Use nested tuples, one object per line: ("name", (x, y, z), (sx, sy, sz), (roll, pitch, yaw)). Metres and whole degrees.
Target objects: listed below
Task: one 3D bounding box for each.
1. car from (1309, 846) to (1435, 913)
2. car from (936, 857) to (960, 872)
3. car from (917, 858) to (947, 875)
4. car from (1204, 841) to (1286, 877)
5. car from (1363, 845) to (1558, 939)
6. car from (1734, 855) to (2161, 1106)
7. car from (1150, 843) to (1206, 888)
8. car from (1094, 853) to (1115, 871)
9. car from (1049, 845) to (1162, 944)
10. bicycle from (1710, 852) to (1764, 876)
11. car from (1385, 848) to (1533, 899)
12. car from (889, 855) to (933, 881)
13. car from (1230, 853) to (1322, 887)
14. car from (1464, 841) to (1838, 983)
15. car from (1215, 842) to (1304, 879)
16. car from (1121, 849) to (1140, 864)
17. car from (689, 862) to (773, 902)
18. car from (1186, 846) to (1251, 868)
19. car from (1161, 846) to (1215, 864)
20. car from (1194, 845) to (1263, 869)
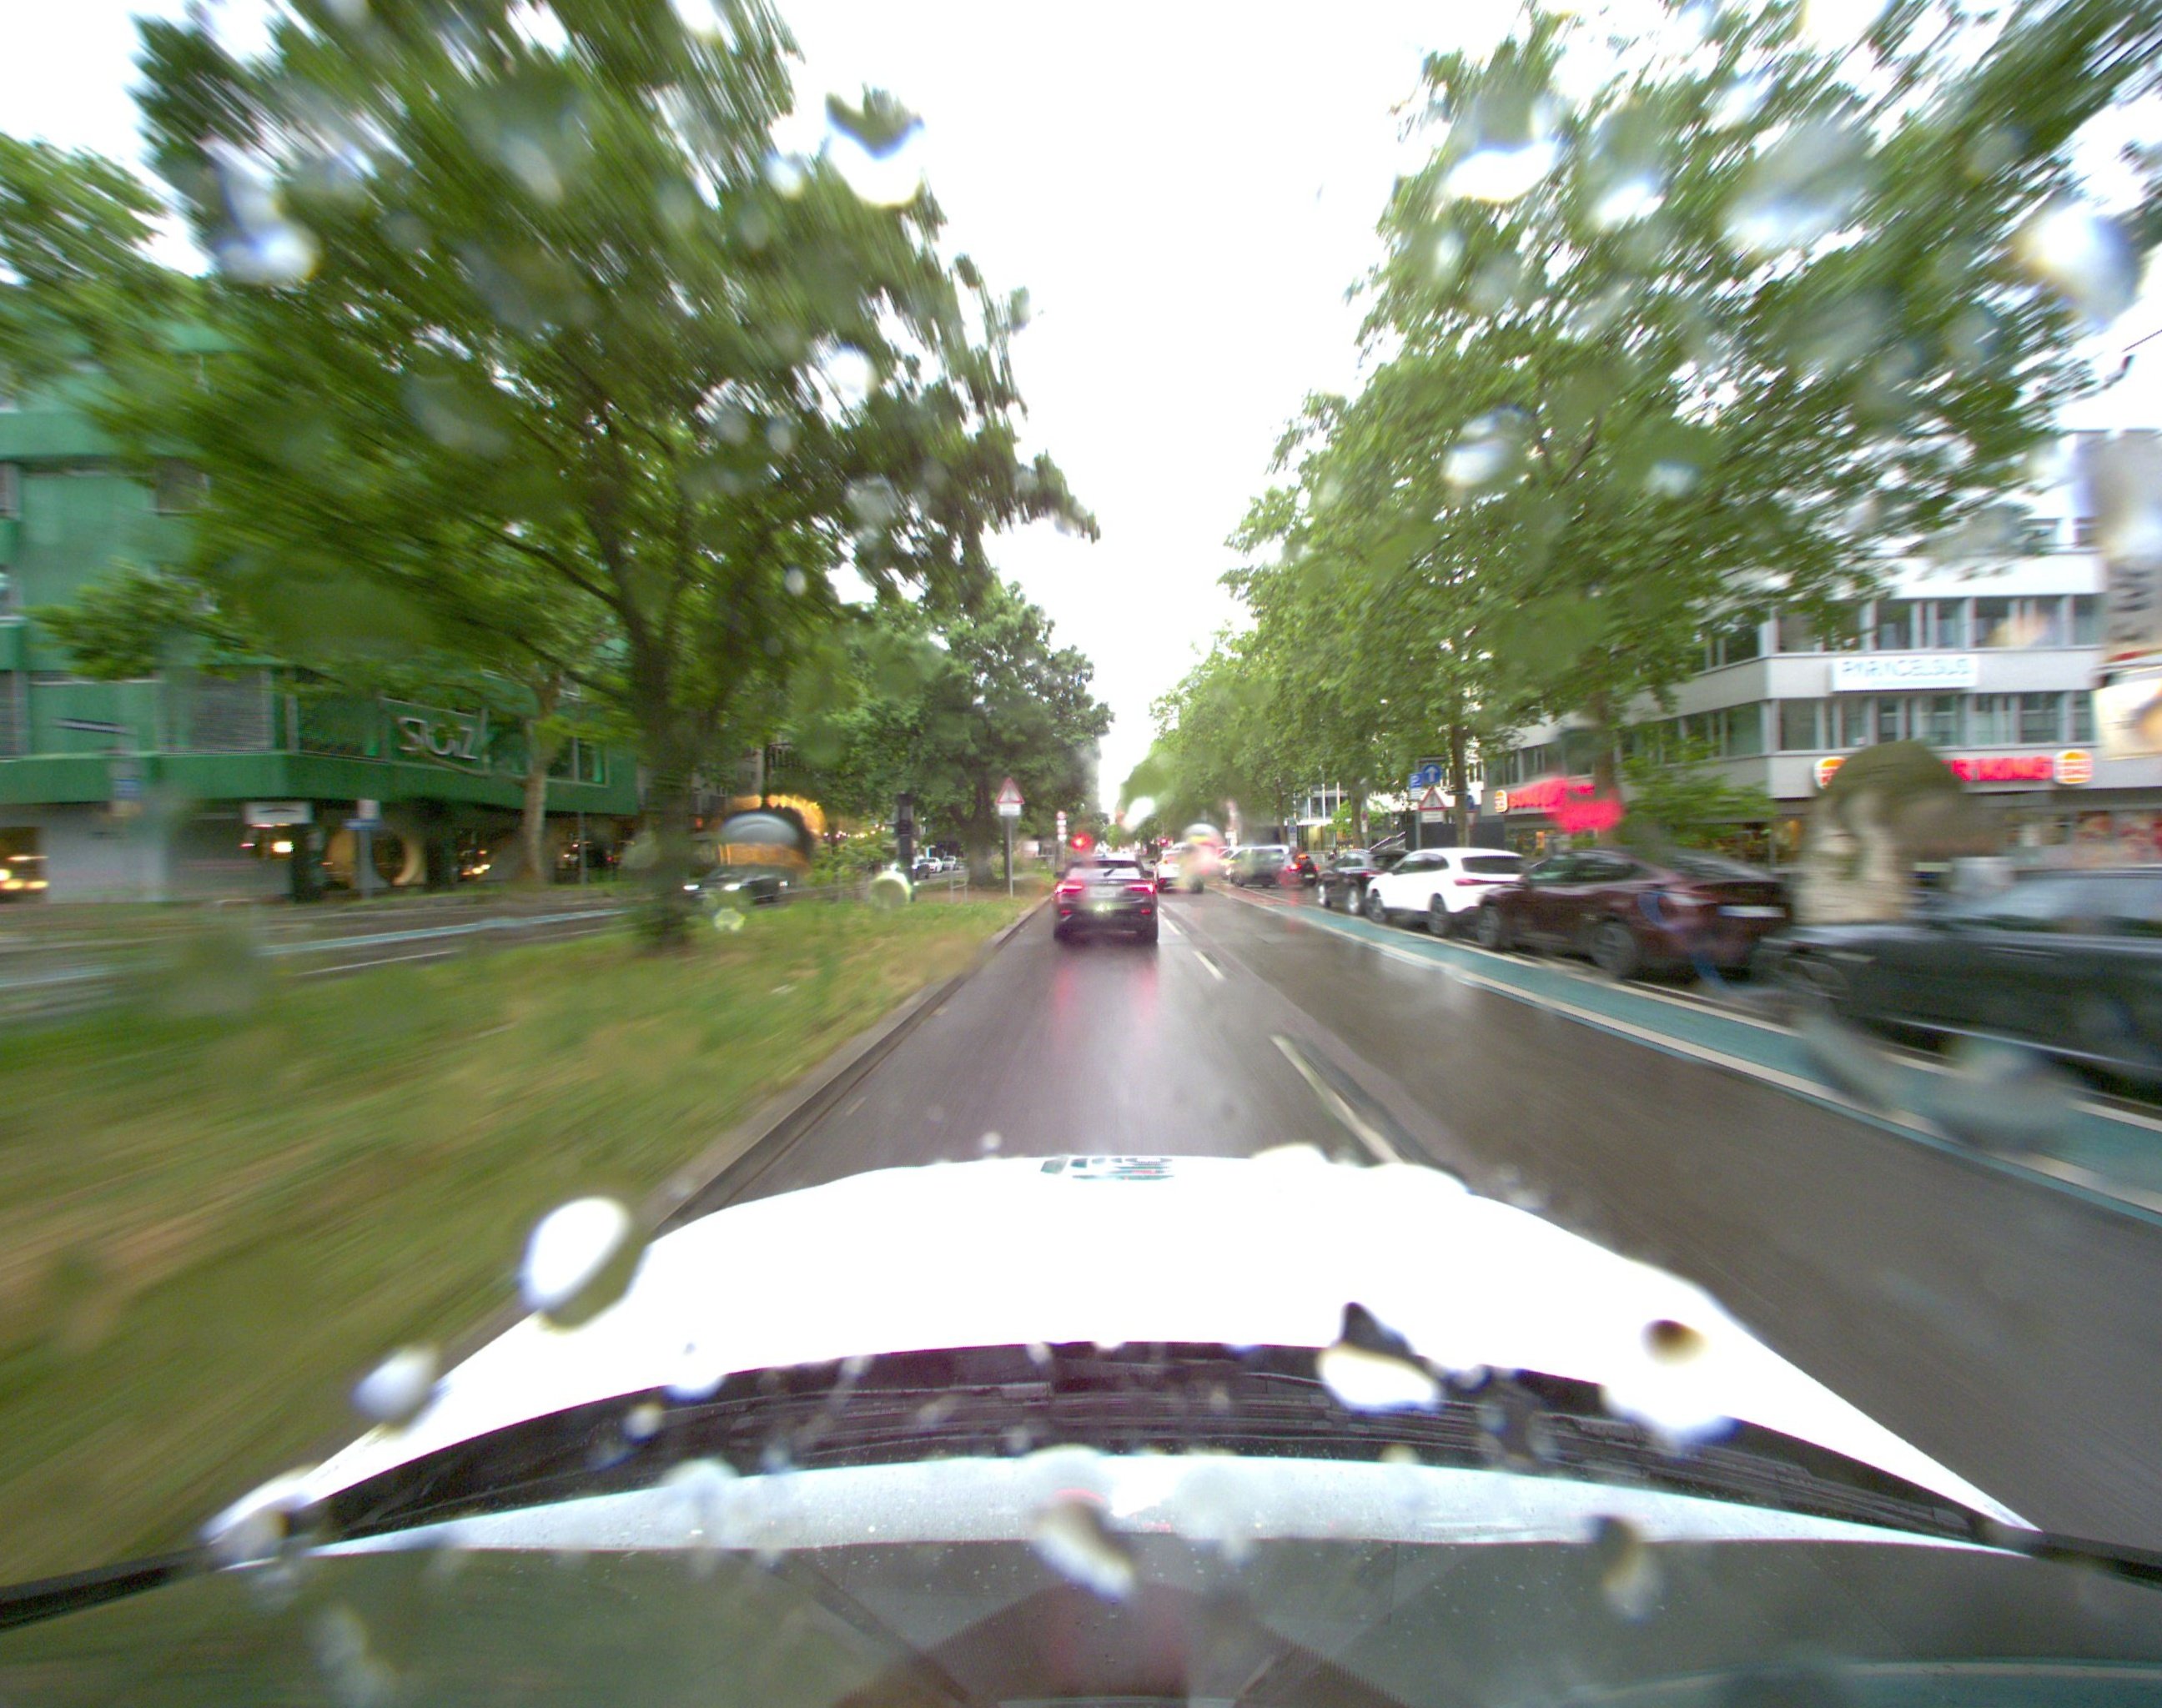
("car", (7.272, 0.605, 20.774), (1.691, 1.523, 4.021), (0, -1, -2))
("car", (-13.936, 1.081, 85.750), (1.719, 1.518, 4.001), (0, -1, 2))
("car", (-13.792, 1.146, 75.664), (1.717, 1.518, 4.006), (0, -1, 5))
("car", (10.712, 0.338, 53.174), (4.834, 2.254, 2.012), (0, -1, 30))
("car", (7.134, 0.617, 15.819), (1.723, 1.571, 4.069), (0, 1, -3))
("car", (7.074, 0.720, 5.412), (1.866, 1.421, 4.612), (0, 0, 1))
("car", (3.869, 0.467, 33.090), (1.871, 1.697, 4.001), (0, -1, 1))
("car", (2.270, 0.751, 79.770), (1.987, 1.726, 4.000), (0, -1, 1))
("car", (0.415, 0.666, 15.325), (1.843, 1.602, 4.000), (-1, 0, 0))
("bicycle", (24.390, 0.371, 30.316), (0.446, 0.836, 2.027), (0, -1, 2))
("car", (12.255, 0.610, 26.727), (4.211, 1.567, 2.065), (0, -1, 18))
("car", (-11.404, 0.911, 54.918), (1.753, 1.703, 4.337), (0, -1, 3))
("car", (8.183, 0.660, 34.479), (1.568, 1.378, 3.831), (1, -1, -31))
("car", (7.247, 0.648, 11.095), (1.862, 1.520, 4.556), (0, -1, -1))
("car", (10.097, 0.376, 46.323), (4.548, 2.014, 1.980), (0, -1, 39))
("car", (5.345, 0.285, 88.061), (1.986, 1.651, 4.001), (0, -1, 1))
("car", (-12.008, 0.925, 28.163), (1.687, 1.258, 3.636), (0, -1, -7))
("car", (10.723, 0.228, 63.449), (4.595, 1.706, 2.012), (0, -1, 29))
("car", (10.175, 0.114, 77.500), (4.595, 1.706, 2.012), (0, -1, 29))
("car", (10.828, 0.199, 59.975), (4.595, 1.706, 2.012), (0, -1, 29))
